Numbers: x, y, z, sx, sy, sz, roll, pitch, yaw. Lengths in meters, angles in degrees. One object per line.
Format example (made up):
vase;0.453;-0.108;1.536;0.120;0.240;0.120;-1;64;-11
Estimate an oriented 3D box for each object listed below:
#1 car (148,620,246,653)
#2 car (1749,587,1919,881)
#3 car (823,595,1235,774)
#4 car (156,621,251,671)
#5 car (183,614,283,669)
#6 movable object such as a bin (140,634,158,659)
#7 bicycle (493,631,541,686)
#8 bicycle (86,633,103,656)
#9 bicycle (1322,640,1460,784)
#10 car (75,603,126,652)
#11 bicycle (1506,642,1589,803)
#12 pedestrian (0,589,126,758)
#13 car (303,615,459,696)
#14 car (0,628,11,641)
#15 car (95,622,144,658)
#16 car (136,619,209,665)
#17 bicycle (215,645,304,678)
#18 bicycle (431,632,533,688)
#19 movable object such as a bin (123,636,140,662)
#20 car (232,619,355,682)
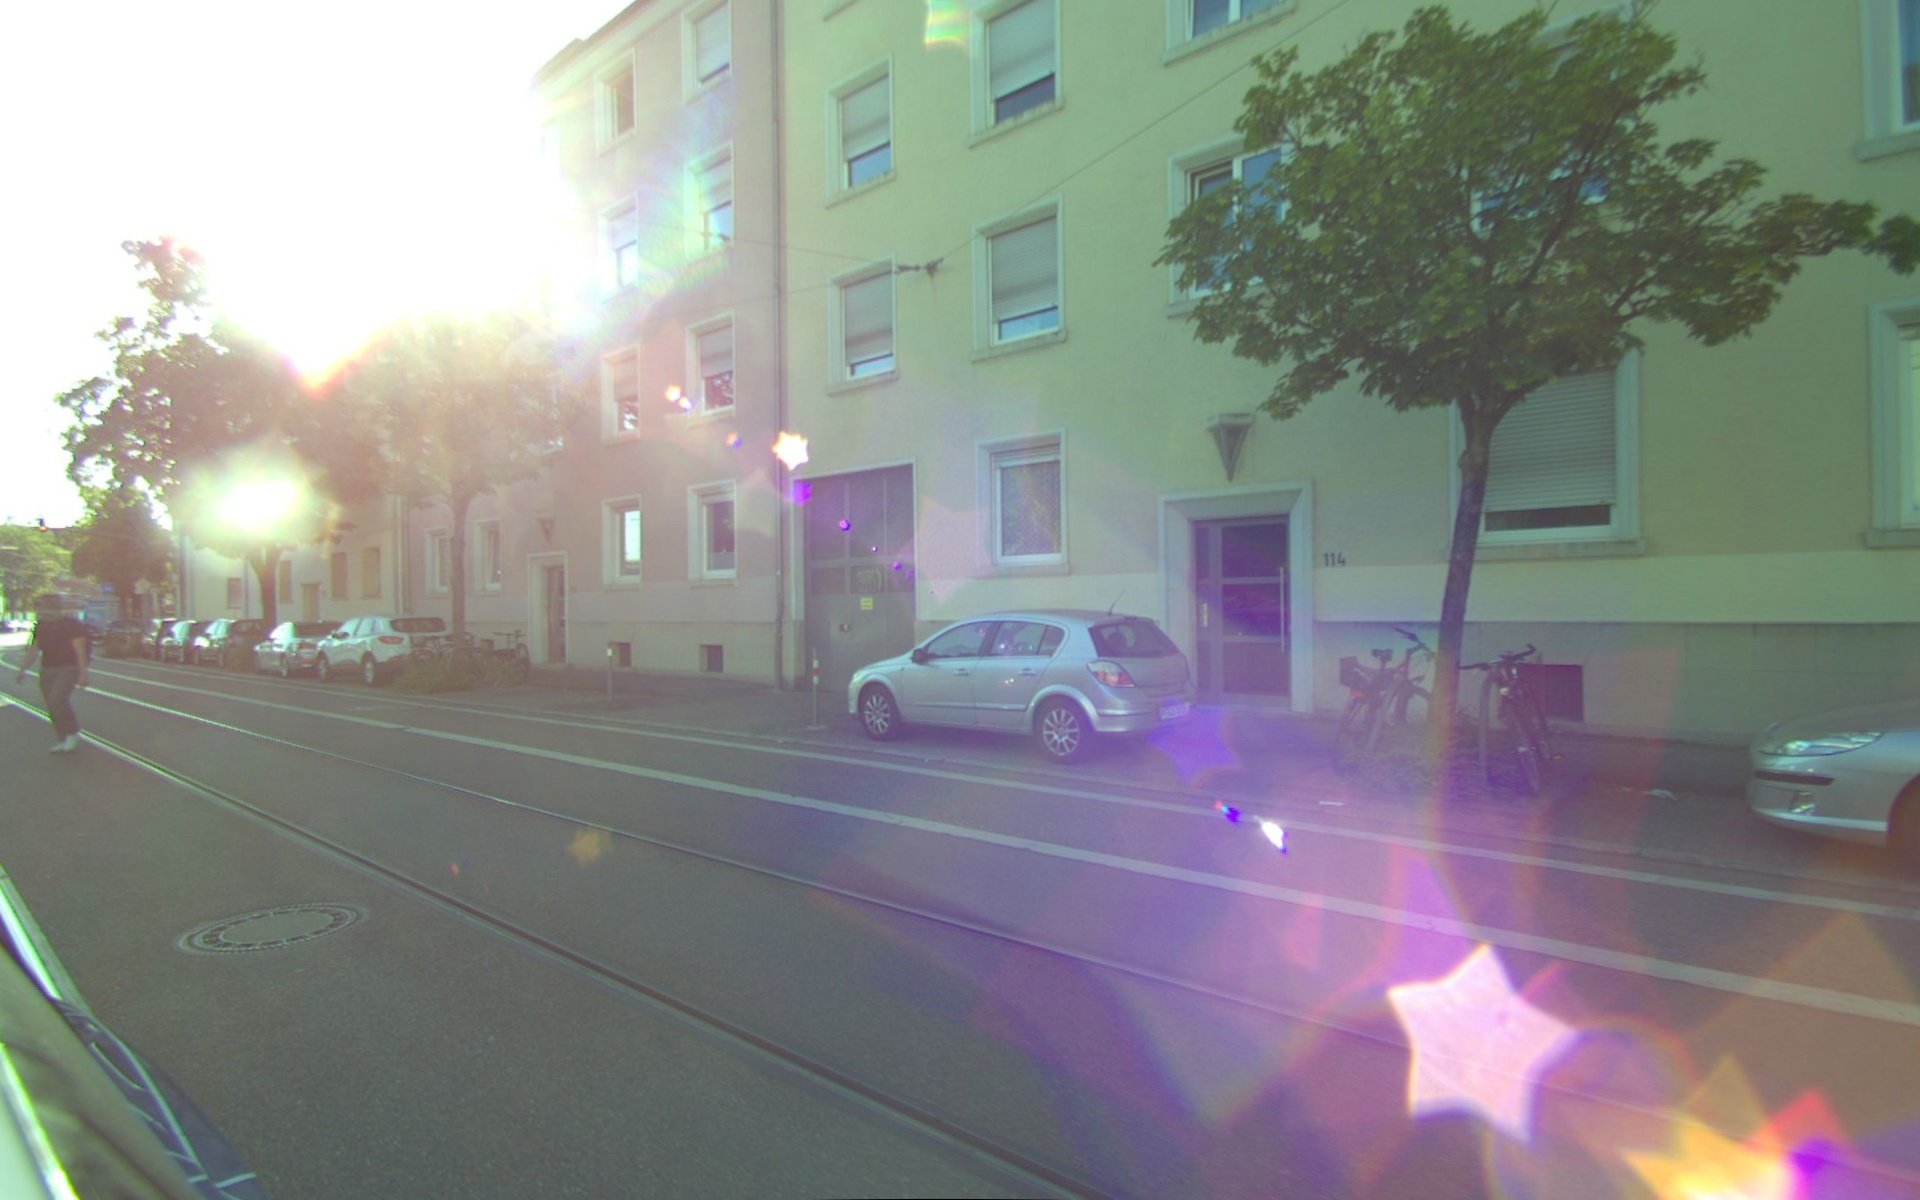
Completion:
car;-38.773;1.822;51.487;3.839;1.469;1.770;-2;0;-42
car;6.835;0.664;4.866;4.679;1.519;1.789;-1;0;42
car;0.593;0.768;10.865;4.190;1.519;1.789;-1;0;42
car;-26.592;1.572;35.540;3.854;1.541;1.769;-1;1;40
car;-23.512;1.313;32.697;3.725;1.626;1.576;-1;0;38
movable object such as a bin;-33.591;1.926;41.927;0.660;0.995;0.479;-2;0;44
bicycle;-9.275;1.203;21.174;1.439;1.110;0.325;-1;0;42
bicycle;-45.168;2.324;52.806;0.506;1.143;2.032;-2;0;-45
bicycle;3.644;0.889;8.488;0.477;1.009;1.647;-2;0;45
car;-53.407;1.663;62.977;1.991;2.847;6.045;-2;0;-37
bicycle;4.501;0.874;7.757;0.475;1.009;1.654;-2;0;30
pedestrian;-10.010;0.797;11.278;0.730;1.790;0.846;-2;-2;22
car;-13.501;1.231;23.509;4.290;1.680;1.636;-1;0;38
car;-115.919;4.133;122.051;1.680;1.493;4.668;3;-3;-38
car;-47.632;2.217;57.426;1.771;1.570;4.651;-15;8;-38
car;-29.719;1.543;38.162;1.669;1.541;4.002;-4;2;-45
bicycle;-20.704;1.806;29.964;0.477;0.831;2.105;-2;0;41
bicycle;-10.128;1.257;21.492;0.476;1.054;1.904;-2;0;43
movable object such as a bin;-34.007;2.005;41.540;0.660;0.995;0.479;-2;0;44
car;-17.727;1.281;26.838;4.660;1.486;1.670;-1;0;43
